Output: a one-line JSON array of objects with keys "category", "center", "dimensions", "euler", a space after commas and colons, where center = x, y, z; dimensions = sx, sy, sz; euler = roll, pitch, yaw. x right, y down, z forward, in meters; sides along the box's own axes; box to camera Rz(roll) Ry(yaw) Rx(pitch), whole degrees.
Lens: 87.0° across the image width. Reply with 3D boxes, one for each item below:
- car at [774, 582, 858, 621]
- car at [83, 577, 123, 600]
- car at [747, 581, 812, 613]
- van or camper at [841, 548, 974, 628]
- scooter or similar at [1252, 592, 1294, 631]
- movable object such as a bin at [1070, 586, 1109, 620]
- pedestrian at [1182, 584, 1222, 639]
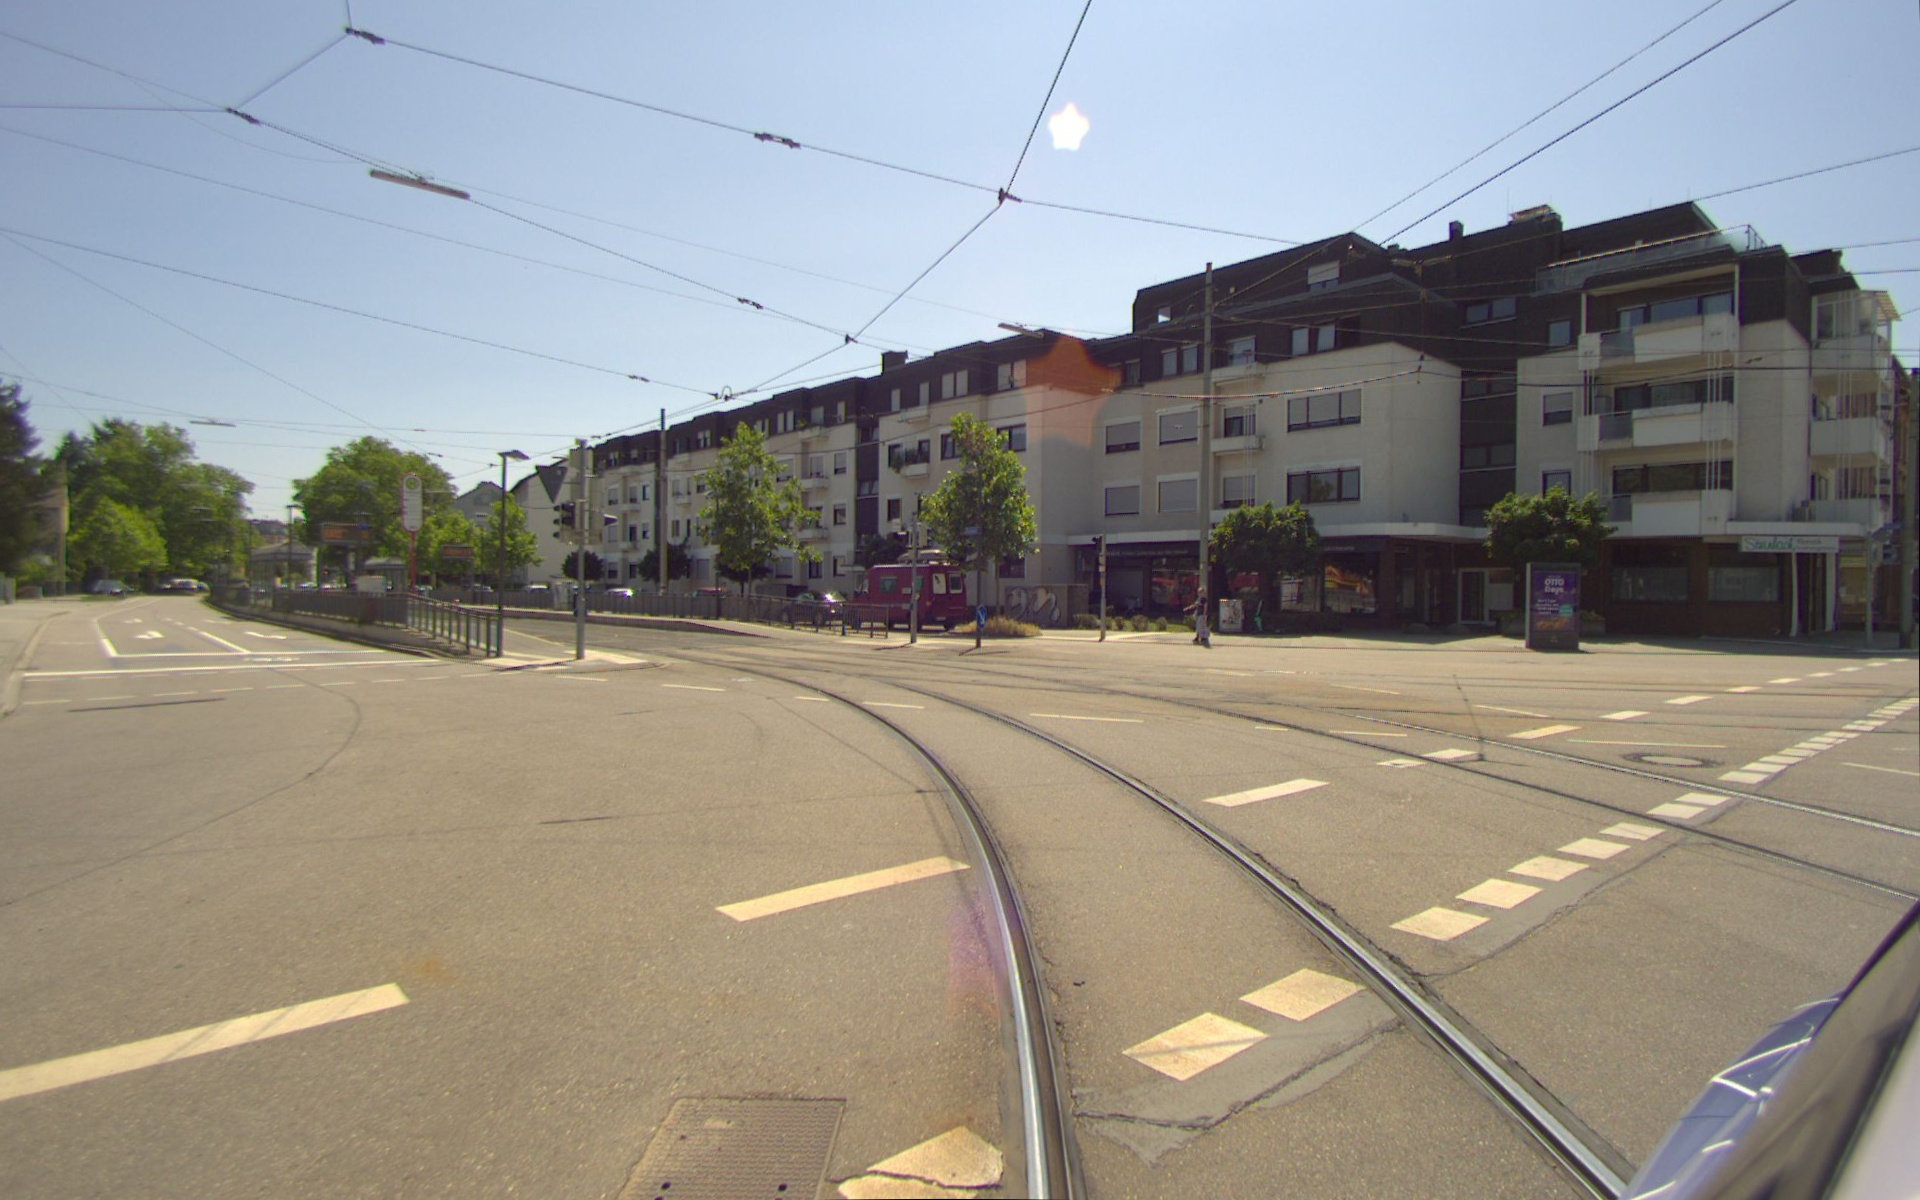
[{"category": "car", "center": [-6.107, 0.038, 42.599], "dimensions": [1.650, 1.567, 3.799], "euler": [1, 0, -42]}, {"category": "car", "center": [-65.541, -0.877, 77.356], "dimensions": [3.987, 1.683, 1.969], "euler": [1, 1, 44]}, {"category": "car", "center": [-9.457, -0.167, 52.879], "dimensions": [1.625, 1.629, 3.645], "euler": [0, 1, -42]}, {"category": "van or camper", "center": [-2.052, -0.457, 38.306], "dimensions": [2.170, 2.800, 5.230], "euler": [1, 0, -42]}, {"category": "scooter or similar", "center": [10.027, 0.369, 32.411], "dimensions": [1.241, 1.228, 0.391], "euler": [1, 0, 23]}, {"category": "movable object such as a bin", "center": [5.707, 0.125, 44.572], "dimensions": [1.045, 1.424, 1.320], "euler": [1, 0, -42]}, {"category": "pedestrian", "center": [7.139, 0.335, 29.866], "dimensions": [0.809, 1.603, 0.830], "euler": [1, 0, -25]}]
